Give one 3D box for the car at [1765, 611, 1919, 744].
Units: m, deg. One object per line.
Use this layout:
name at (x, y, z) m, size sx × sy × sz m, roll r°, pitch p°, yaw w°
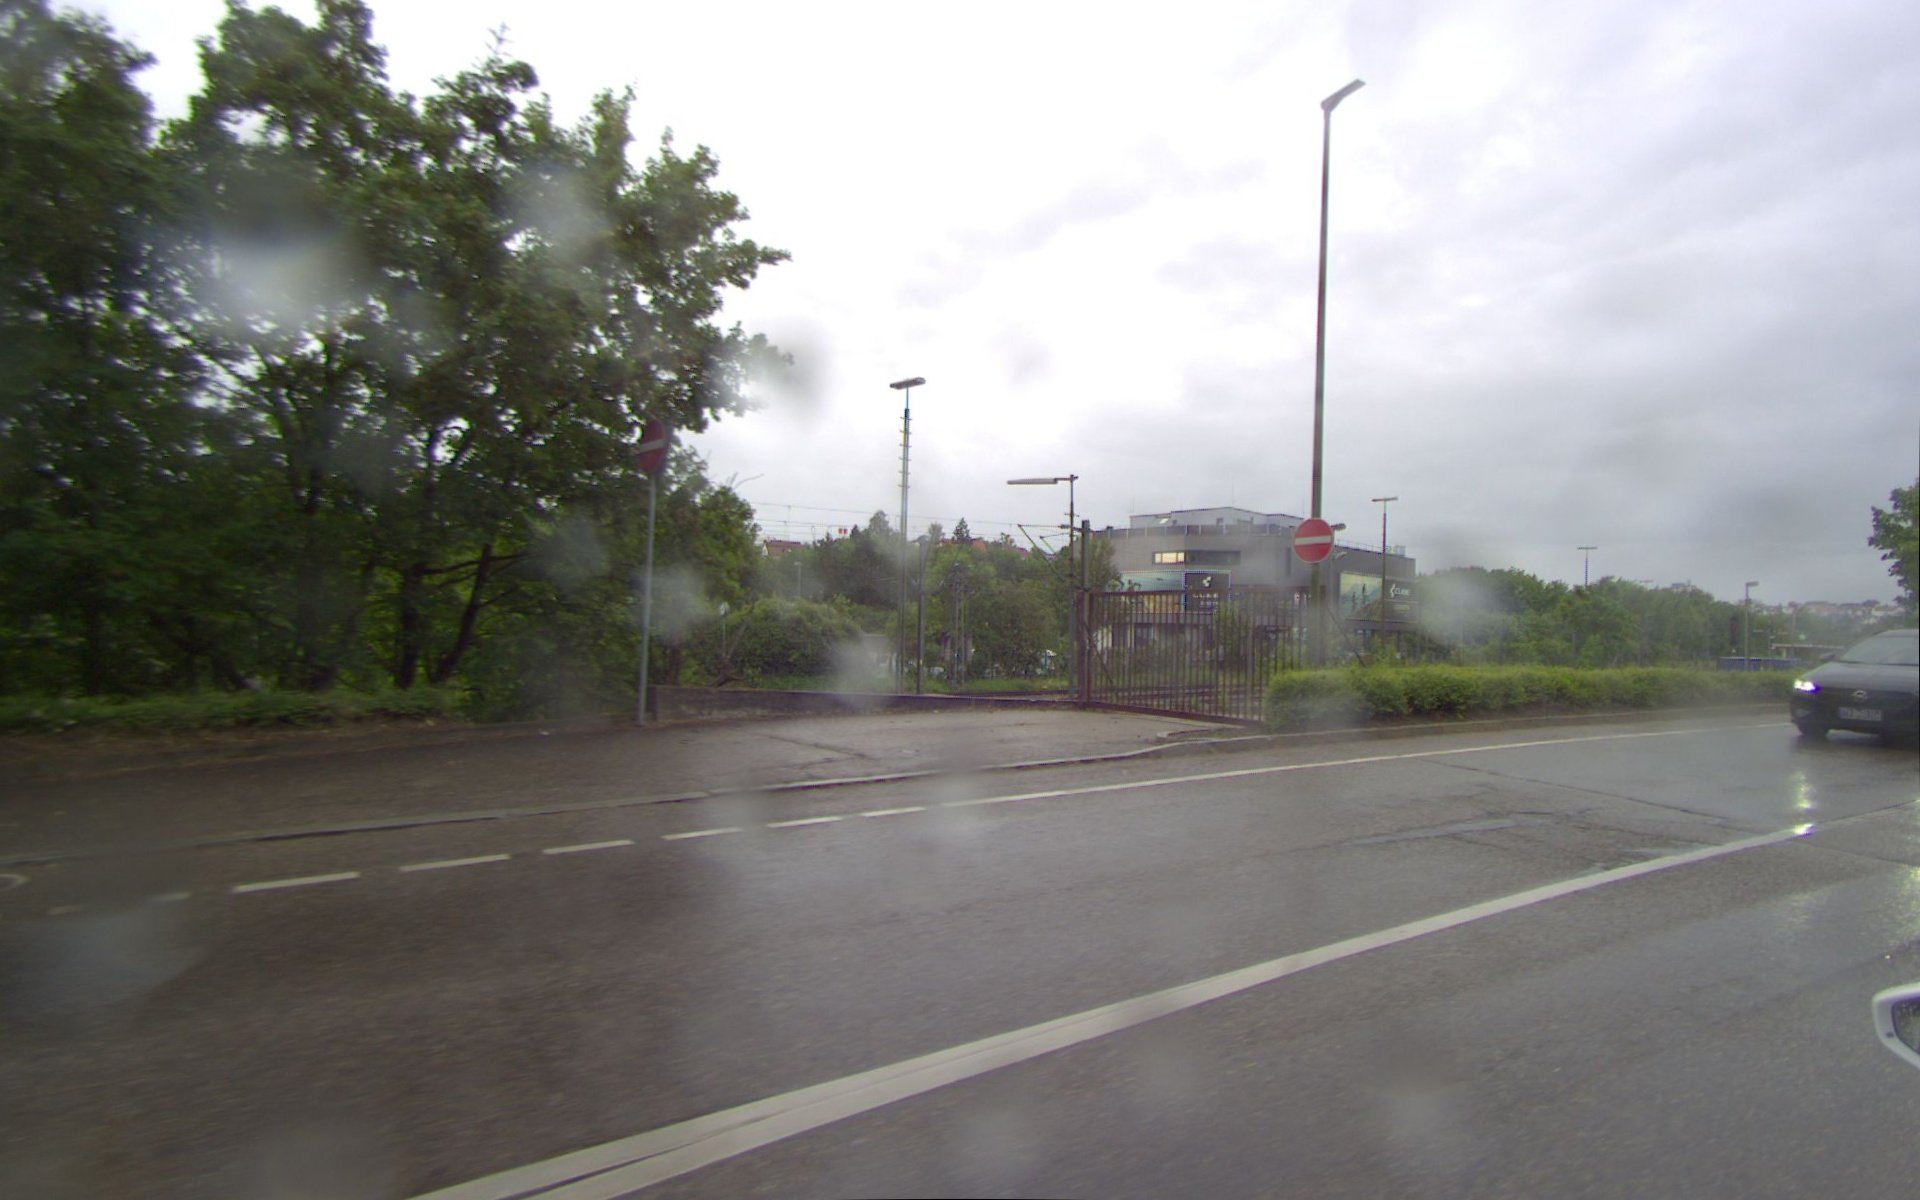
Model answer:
car at (12.738, 0.949, 13.197) m, size 4.486 × 1.482 × 1.716 m, roll 1°, pitch 1°, yaw -28°
